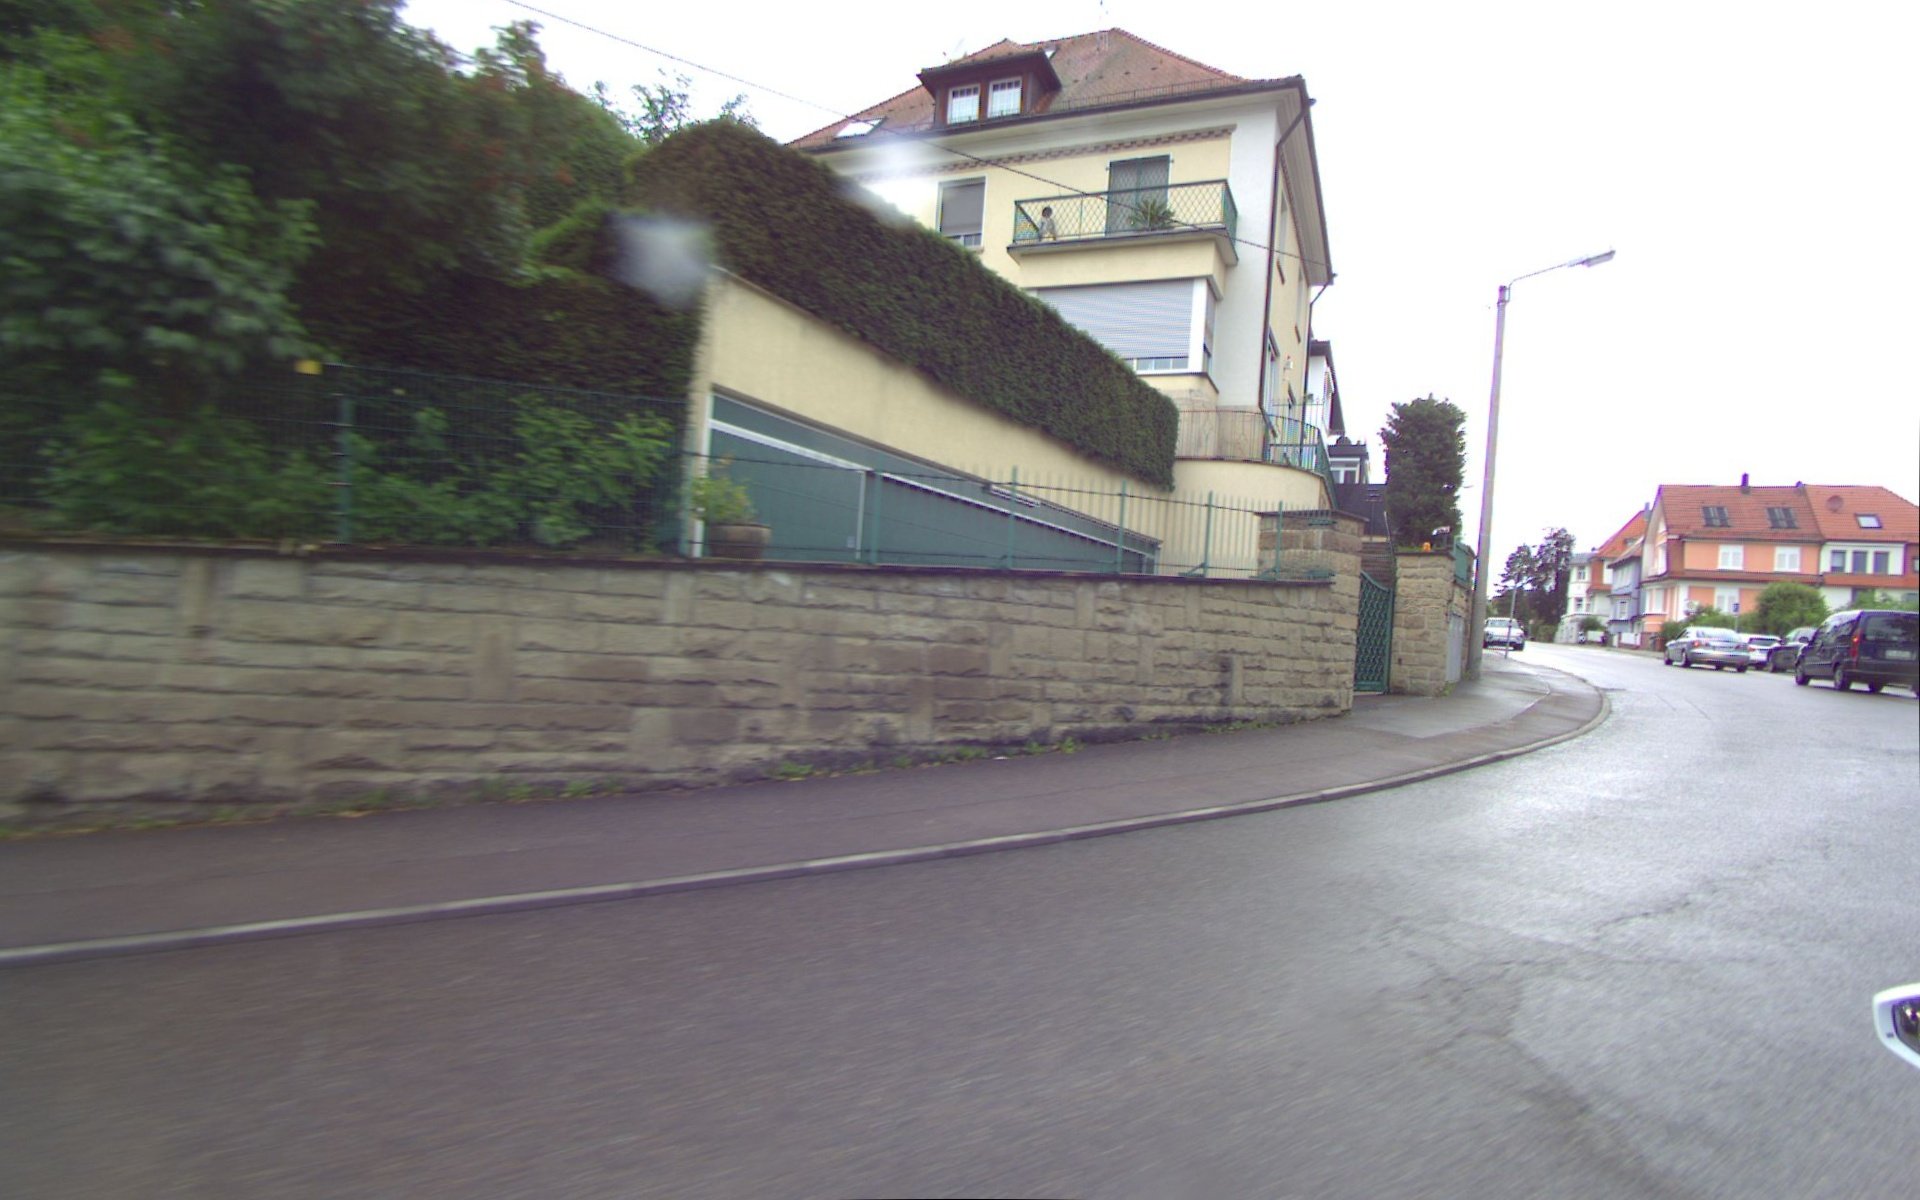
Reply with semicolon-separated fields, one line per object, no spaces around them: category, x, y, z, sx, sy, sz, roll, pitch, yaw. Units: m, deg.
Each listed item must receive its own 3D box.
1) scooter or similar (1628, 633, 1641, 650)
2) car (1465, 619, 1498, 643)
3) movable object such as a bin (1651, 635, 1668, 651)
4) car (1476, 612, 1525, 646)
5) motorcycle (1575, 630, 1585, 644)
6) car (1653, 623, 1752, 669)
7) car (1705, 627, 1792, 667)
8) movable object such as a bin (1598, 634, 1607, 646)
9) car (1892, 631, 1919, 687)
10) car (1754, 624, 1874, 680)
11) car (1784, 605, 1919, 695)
scooter or similar;50.841;3.111;75.673;0.683;1.240;1.296;4;1;32
car;32.972;1.954;63.561;1.584;1.355;3.838;5;1;24
movable object such as a bin;46.501;2.878;66.771;0.561;0.981;0.669;5;1;-8
car;27.794;1.461;51.786;1.868;1.588;4.235;2;0;24
motorcycle;59.038;3.522;95.651;0.573;1.278;2.328;2;0;27
car;25.608;1.605;34.782;1.824;1.477;4.094;0;-3;23
car;33.115;1.922;42.330;1.686;1.424;4.605;5;1;23
movable object such as a bin;55.363;3.445;86.509;0.540;0.948;0.633;1;0;25
car;25.308;1.542;25.160;1.662;1.441;3.980;3;0;25
car;30.286;1.783;35.795;1.857;1.684;4.546;5;1;23
car;20.852;1.071;23.364;1.796;1.908;4.089;0;0;28
